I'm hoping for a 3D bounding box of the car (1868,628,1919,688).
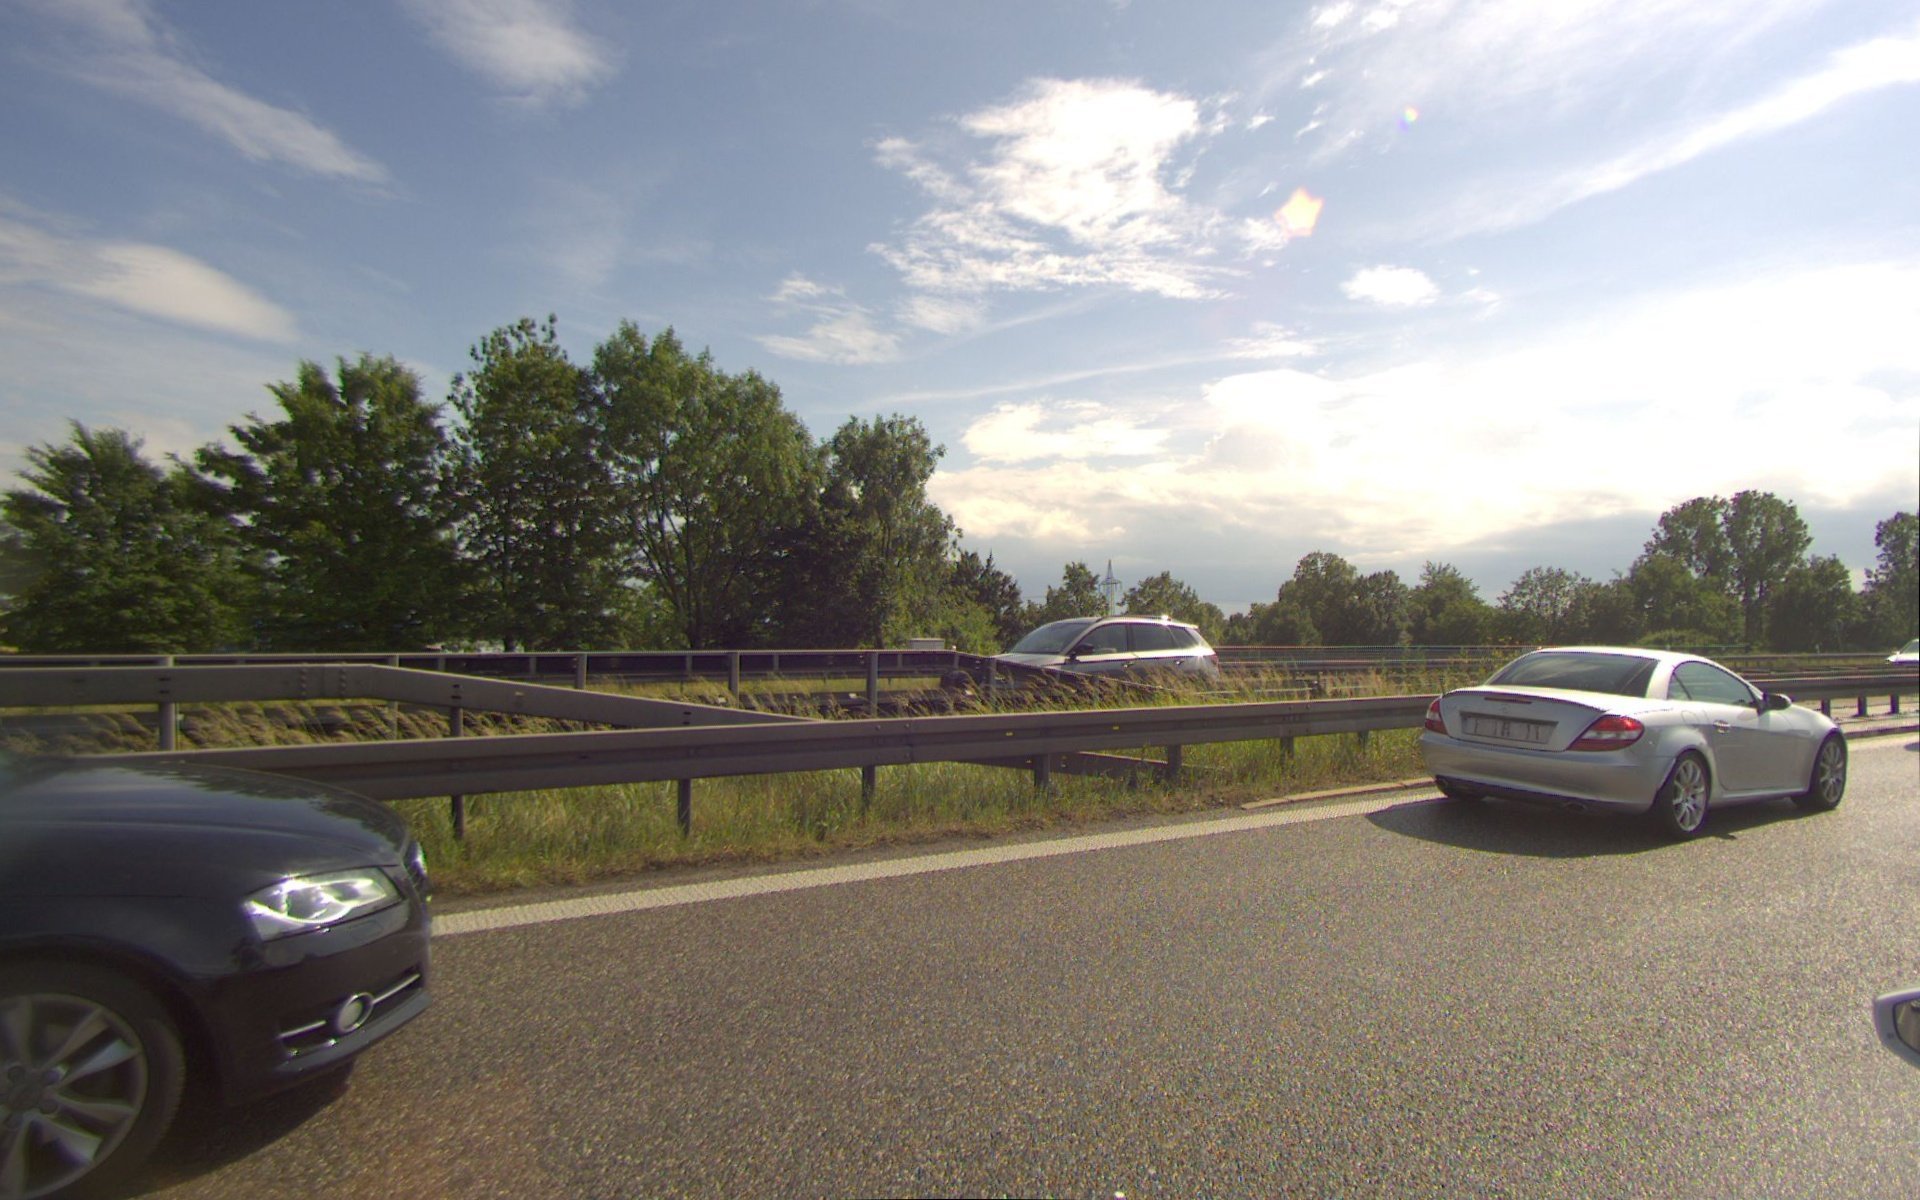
[{"bbox_3d":[29.931,1.781,30.775,4.158,1.752,1.984,2,-2,-31],"label":"car"}]

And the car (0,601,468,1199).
[{"bbox_3d":[-3.528,0.716,2.455,4.088,1.444,1.759,2,0,-29],"label":"car"}]

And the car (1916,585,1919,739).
[{"bbox_3d":[15.444,0.863,13.818,5.207,2.040,1.984,1,-1,-30],"label":"car"}]

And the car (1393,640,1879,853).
[{"bbox_3d":[5.547,0.999,8.140,4.016,1.295,1.716,1,-1,-30],"label":"car"}]

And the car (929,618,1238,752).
[{"bbox_3d":[1.765,1.109,14.195,3.953,1.606,1.984,2,-1,-30],"label":"car"}]
